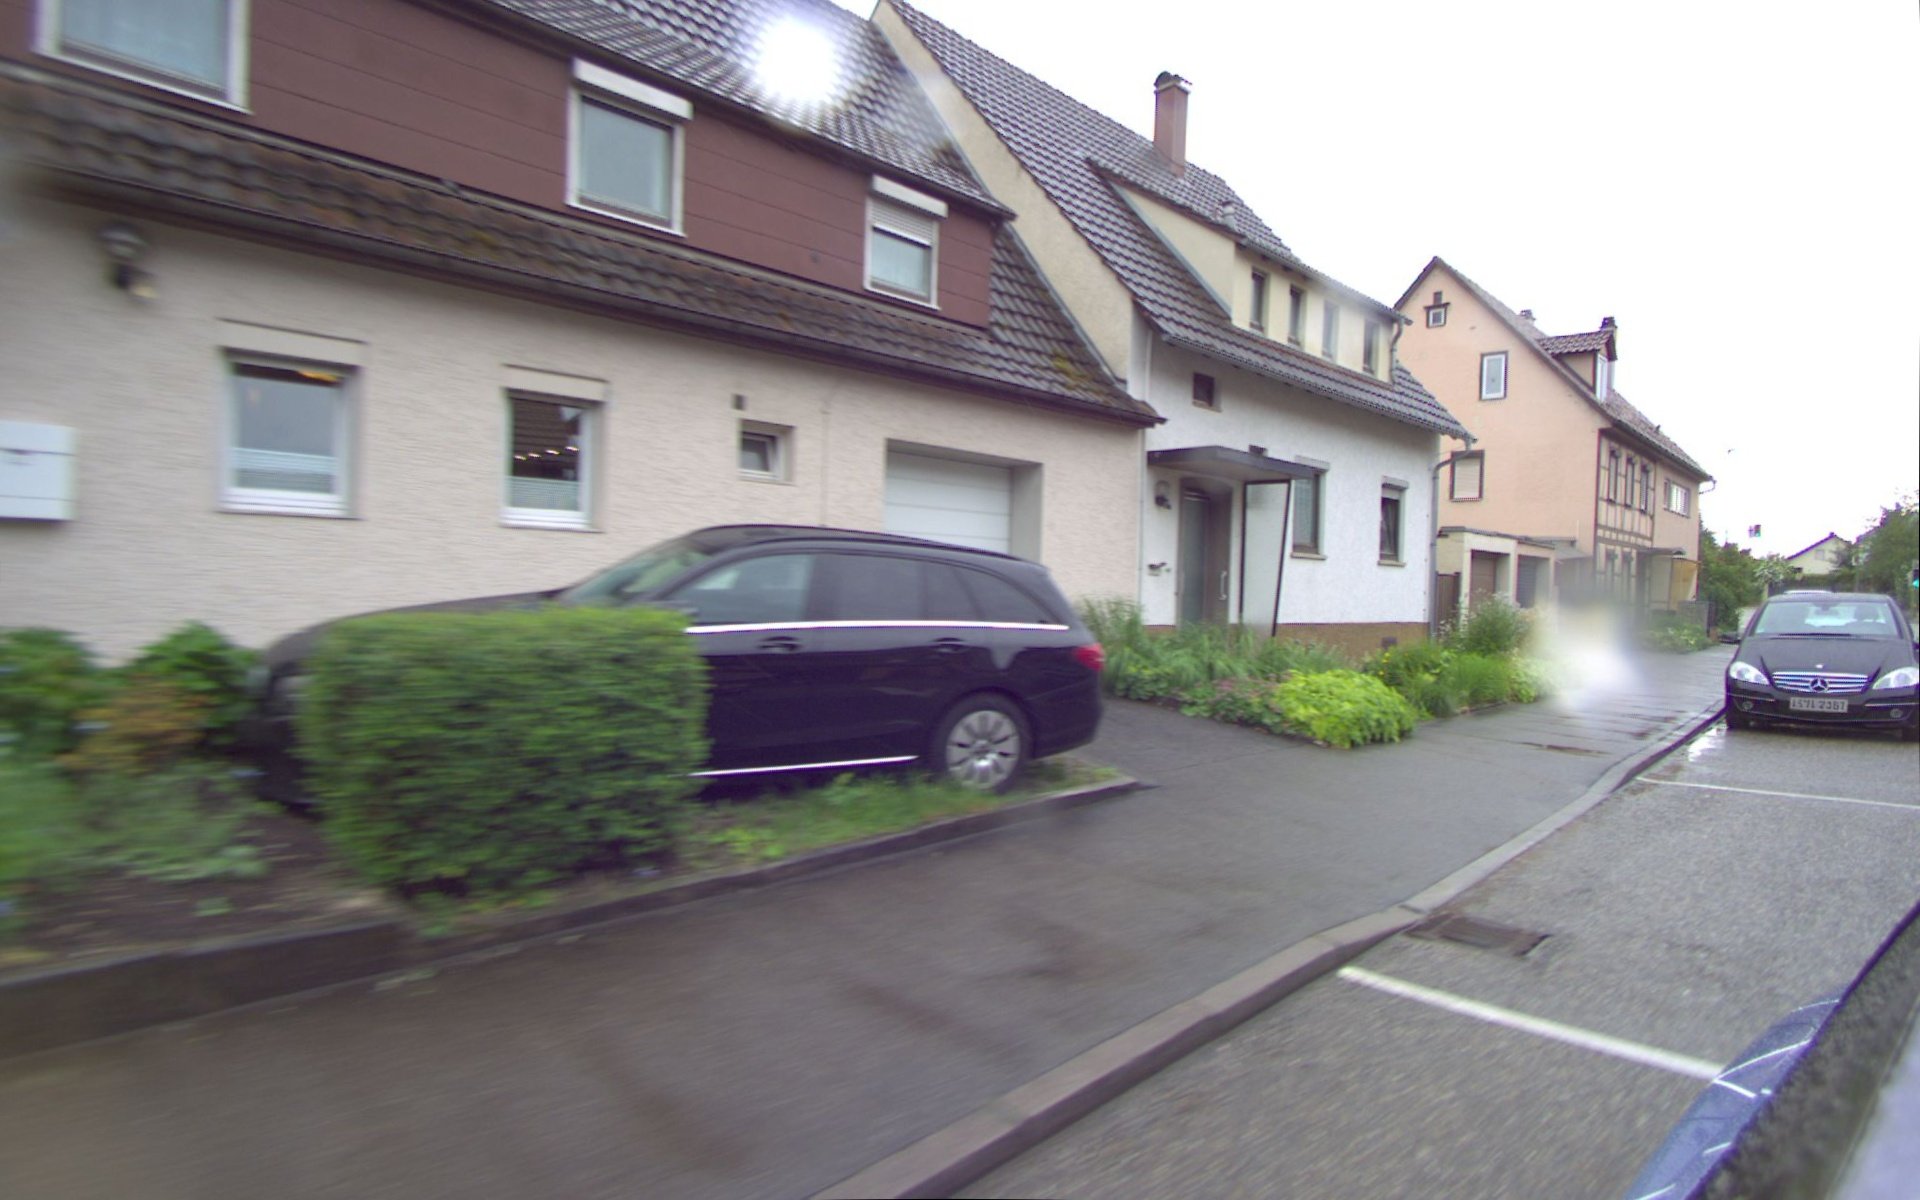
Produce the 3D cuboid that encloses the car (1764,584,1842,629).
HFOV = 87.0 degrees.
[{"bbox_3d":[37.715,0.247,45.385,1.921,1.926,4.742,0,1,30],"label":"car"}]

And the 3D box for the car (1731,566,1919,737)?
[{"bbox_3d":[10.753,0.502,12.249,1.750,1.731,3.936,3,2,44],"label":"car"}]

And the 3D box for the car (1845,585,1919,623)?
[{"bbox_3d":[44.323,0.165,48.552,1.900,1.682,3.960,3,2,28],"label":"car"}]

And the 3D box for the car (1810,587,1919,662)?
[{"bbox_3d":[21.867,0.513,24.581,1.800,1.615,4.546,1,1,39],"label":"car"}]

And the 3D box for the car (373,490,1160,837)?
[{"bbox_3d":[-1.038,0.258,5.881,3.917,1.409,1.770,2,7,-25],"label":"car"}]
